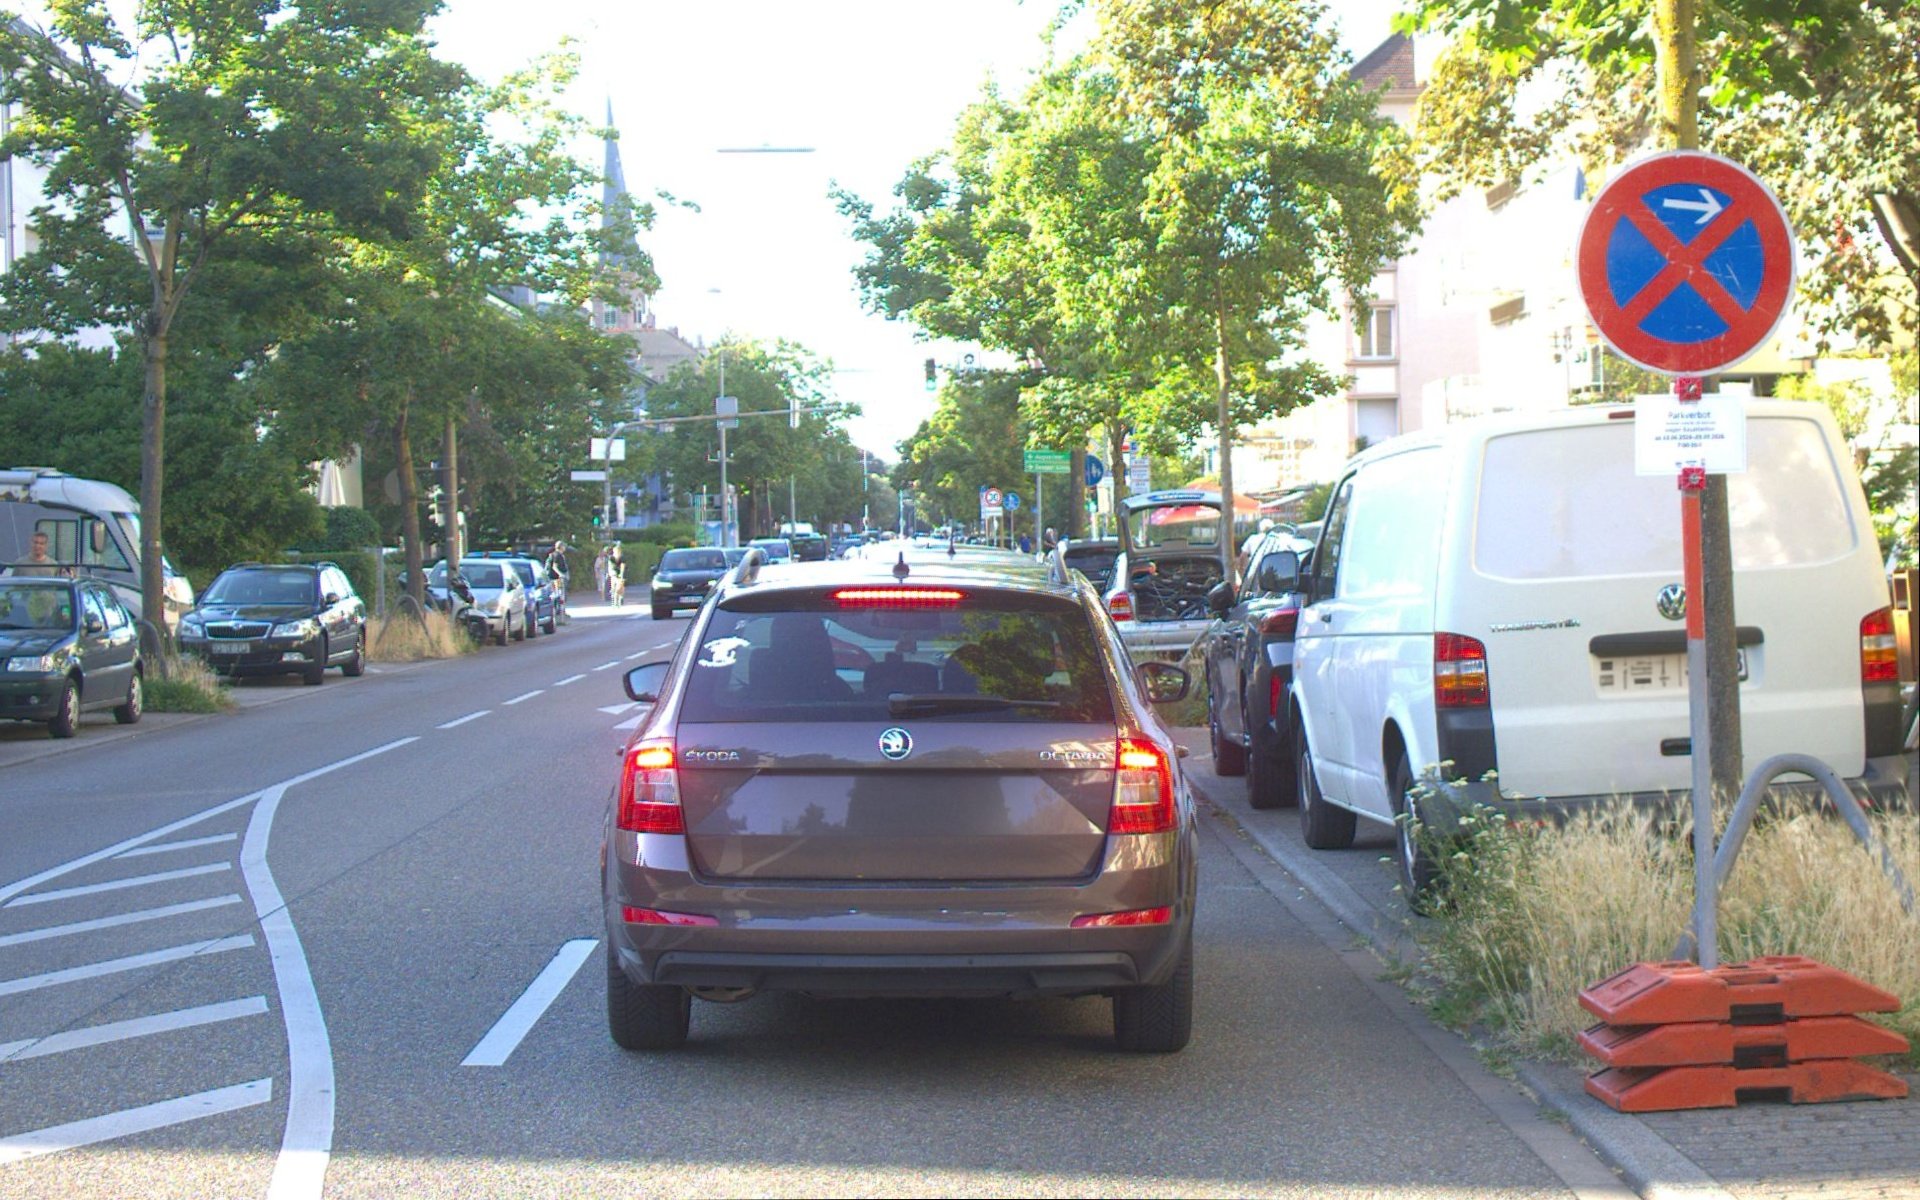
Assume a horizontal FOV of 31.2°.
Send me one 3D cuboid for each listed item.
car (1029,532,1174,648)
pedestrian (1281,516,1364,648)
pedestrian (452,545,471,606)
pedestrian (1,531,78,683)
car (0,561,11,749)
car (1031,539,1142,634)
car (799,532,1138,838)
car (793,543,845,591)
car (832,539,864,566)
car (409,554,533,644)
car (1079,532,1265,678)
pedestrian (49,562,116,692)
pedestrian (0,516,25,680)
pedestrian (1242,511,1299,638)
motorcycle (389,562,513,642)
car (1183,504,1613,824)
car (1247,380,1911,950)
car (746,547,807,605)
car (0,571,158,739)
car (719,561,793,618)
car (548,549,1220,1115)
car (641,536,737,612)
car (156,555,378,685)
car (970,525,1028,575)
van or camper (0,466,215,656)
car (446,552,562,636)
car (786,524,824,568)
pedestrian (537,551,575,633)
[{"bbox_3d":[2.068,-0.176,51.240,1.855,1.576,4.014,-3,1,-1],"label":"car"},{"bbox_3d":[4.564,-0.231,43.260,0.757,1.634,0.694,-1,1,36],"label":"pedestrian"},{"bbox_3d":[-14.643,-0.720,101.018,0.449,1.791,0.504,-1,1,0],"label":"pedestrian"},{"bbox_3d":[-11.005,0.082,41.113,0.713,1.786,0.572,-1,1,2],"label":"pedestrian"},{"bbox_3d":[-8.548,0.487,26.261,1.593,1.518,3.891,-1,1,-2],"label":"car"},{"bbox_3d":[2.085,-0.251,56.989,1.703,1.445,4.013,-3,1,2],"label":"car"},{"bbox_3d":[0.055,0.408,19.851,1.737,1.565,4.000,1,1,0],"label":"car"},{"bbox_3d":[-5.989,-1.432,146.701,1.993,1.902,4.964,-3,1,-1],"label":"car"},{"bbox_3d":[-6.732,-2.859,206.984,1.830,1.574,4.000,-1,1,0],"label":"car"},{"bbox_3d":[-8.465,-0.038,59.751,1.593,1.465,3.804,1,1,0],"label":"car"},{"bbox_3d":[2.345,0.018,38.960,1.708,1.475,4.269,-3,1,-1],"label":"car"},{"bbox_3d":[-10.260,0.307,40.196,0.590,1.490,0.542,-1,1,2],"label":"pedestrian"},{"bbox_3d":[-10.731,-0.020,37.809,0.713,1.786,0.506,-1,1,2],"label":"pedestrian"},{"bbox_3d":[4.377,-0.362,48.430,0.662,1.743,0.772,-3,1,1],"label":"pedestrian"},{"bbox_3d":[-8.306,0.040,56.043,2.052,1.260,0.765,-1,1,38],"label":"motorcycle"},{"bbox_3d":[2.479,0.305,20.502,1.856,1.598,4.312,-4,1,-1],"label":"car"},{"bbox_3d":[2.514,0.202,15.178,1.903,2.096,4.641,-1,1,-2],"label":"car"},{"bbox_3d":[-6.127,-0.817,115.278,1.805,1.798,4.746,-3,1,-1],"label":"car"},{"bbox_3d":[-8.427,0.461,31.032,1.543,1.392,3.666,-1,1,-1],"label":"car"},{"bbox_3d":[-5.701,-0.311,96.400,1.760,1.447,4.534,-3,1,0],"label":"car"},{"bbox_3d":[-0.235,0.581,11.231,1.773,1.484,4.311,0,1,-1],"label":"car"},{"bbox_3d":[-6.061,-0.586,77.289,1.835,1.565,4.000,-3,1,-1],"label":"car"},{"bbox_3d":[-8.576,0.207,42.885,1.867,1.489,4.517,1,1,0],"label":"car"},{"bbox_3d":[1.465,-1.846,126.382,1.994,1.766,4.000,1,1,2],"label":"car"},{"bbox_3d":[-14.959,-0.638,52.124,6.797,2.763,2.352,1,1,-1],"label":"van or camper"},{"bbox_3d":[-8.501,-0.140,64.380,1.648,1.512,4.074,0,1,0],"label":"car"},{"bbox_3d":[-8.974,-3.143,198.727,1.993,2.469,4.000,-1,1,0],"label":"car"},{"bbox_3d":[-10.021,-0.203,85.342,0.780,1.981,0.821,-1,1,0],"label":"pedestrian"}]
